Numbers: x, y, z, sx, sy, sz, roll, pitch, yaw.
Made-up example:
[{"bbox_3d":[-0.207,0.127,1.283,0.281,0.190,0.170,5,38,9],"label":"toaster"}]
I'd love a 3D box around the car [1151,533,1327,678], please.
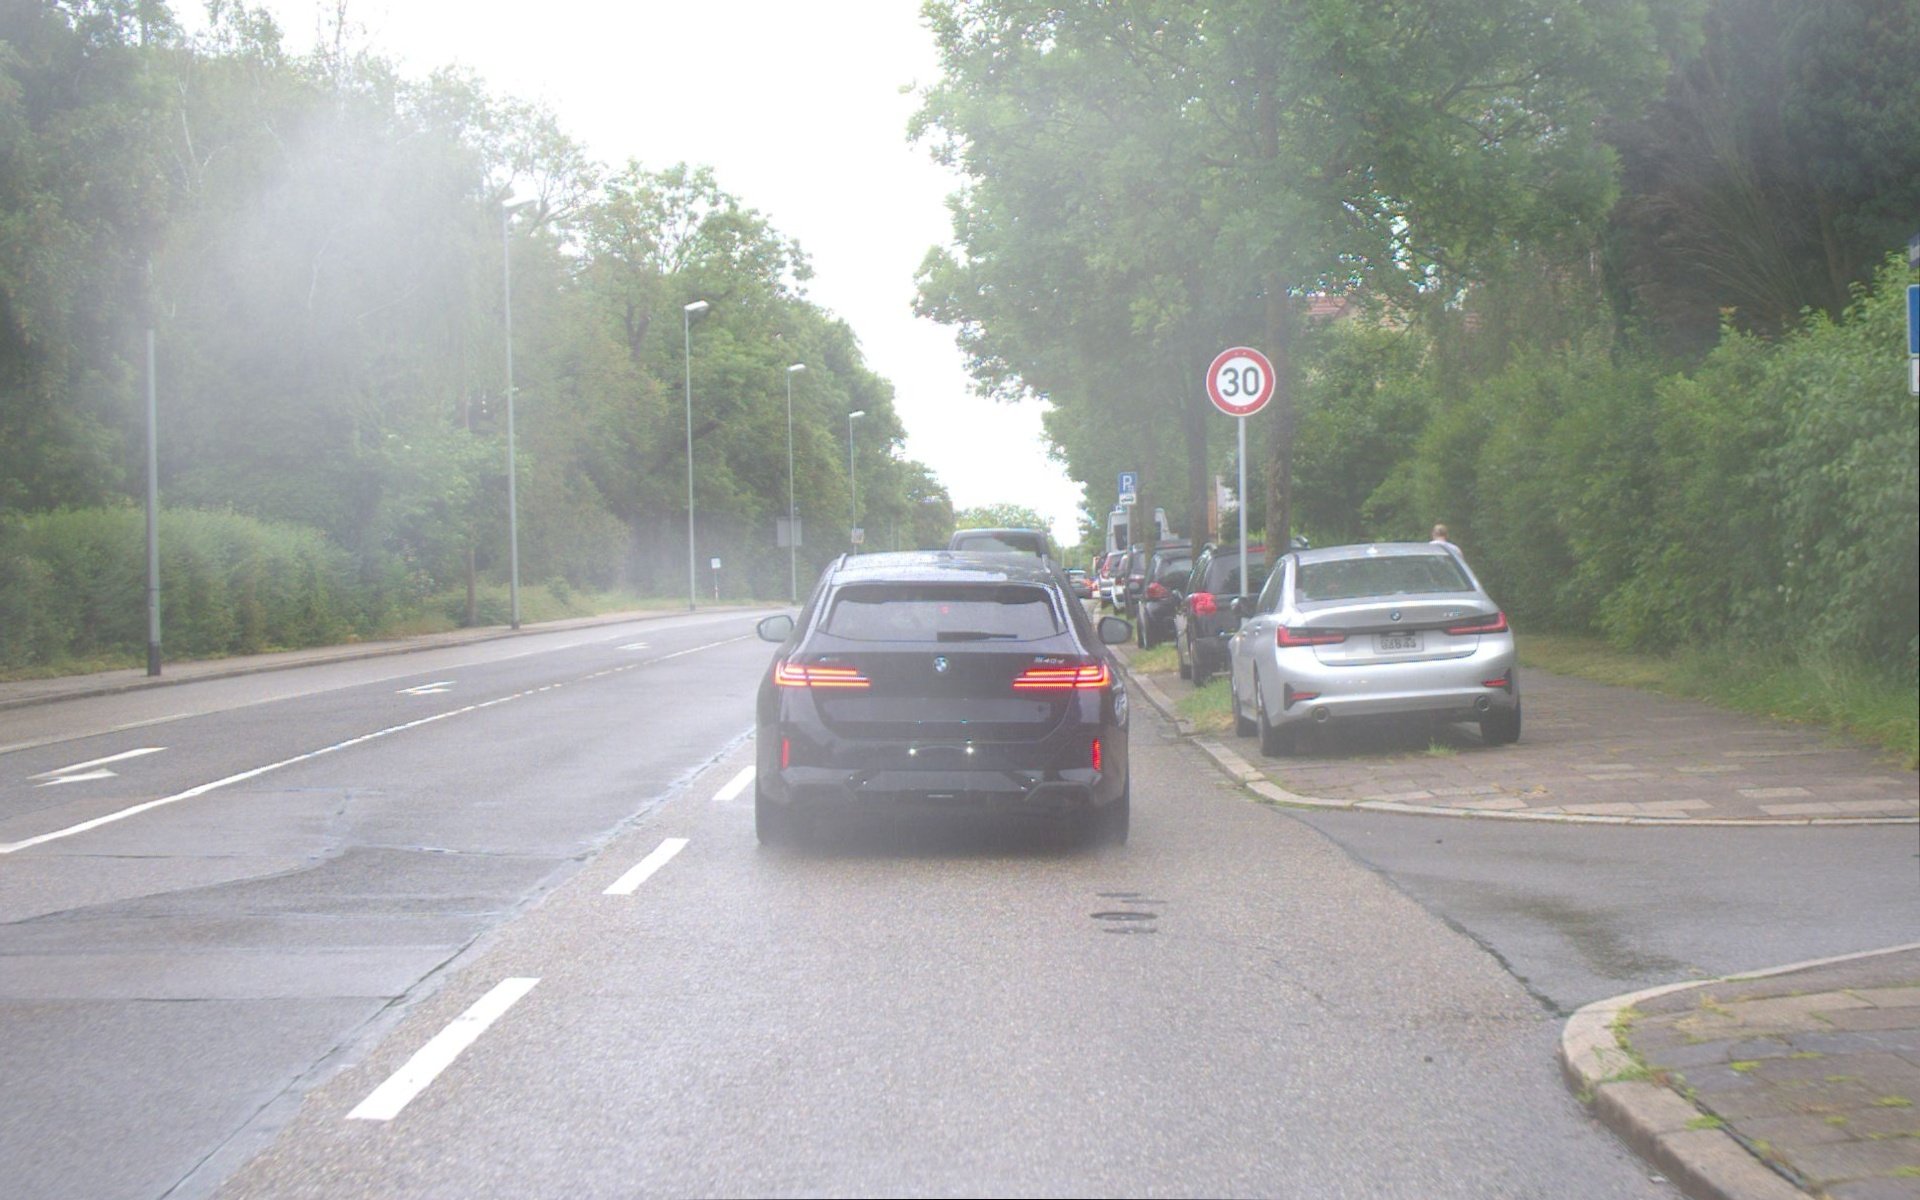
[{"bbox_3d":[2.995,0.024,37.424,1.589,1.456,3.562,-1,1,0],"label":"car"}]

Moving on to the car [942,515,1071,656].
[{"bbox_3d":[0.613,-0.239,47.958,1.629,1.827,4.001,-2,2,-1],"label":"car"}]

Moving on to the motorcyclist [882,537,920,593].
[{"bbox_3d":[-1.672,-0.992,97.159,1.039,1.562,0.855,1,1,-1],"label":"motorcyclist"}]

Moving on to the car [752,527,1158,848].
[{"bbox_3d":[-0.023,0.375,18.315,1.897,1.484,4.000,1,1,0],"label":"car"}]

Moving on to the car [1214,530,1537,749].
[{"bbox_3d":[2.953,0.224,25.307,1.935,1.437,4.408,-1,1,2],"label":"car"}]

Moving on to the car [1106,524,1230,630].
[{"bbox_3d":[3.061,-0.371,51.104,1.589,1.481,3.562,-1,1,0],"label":"car"}]
